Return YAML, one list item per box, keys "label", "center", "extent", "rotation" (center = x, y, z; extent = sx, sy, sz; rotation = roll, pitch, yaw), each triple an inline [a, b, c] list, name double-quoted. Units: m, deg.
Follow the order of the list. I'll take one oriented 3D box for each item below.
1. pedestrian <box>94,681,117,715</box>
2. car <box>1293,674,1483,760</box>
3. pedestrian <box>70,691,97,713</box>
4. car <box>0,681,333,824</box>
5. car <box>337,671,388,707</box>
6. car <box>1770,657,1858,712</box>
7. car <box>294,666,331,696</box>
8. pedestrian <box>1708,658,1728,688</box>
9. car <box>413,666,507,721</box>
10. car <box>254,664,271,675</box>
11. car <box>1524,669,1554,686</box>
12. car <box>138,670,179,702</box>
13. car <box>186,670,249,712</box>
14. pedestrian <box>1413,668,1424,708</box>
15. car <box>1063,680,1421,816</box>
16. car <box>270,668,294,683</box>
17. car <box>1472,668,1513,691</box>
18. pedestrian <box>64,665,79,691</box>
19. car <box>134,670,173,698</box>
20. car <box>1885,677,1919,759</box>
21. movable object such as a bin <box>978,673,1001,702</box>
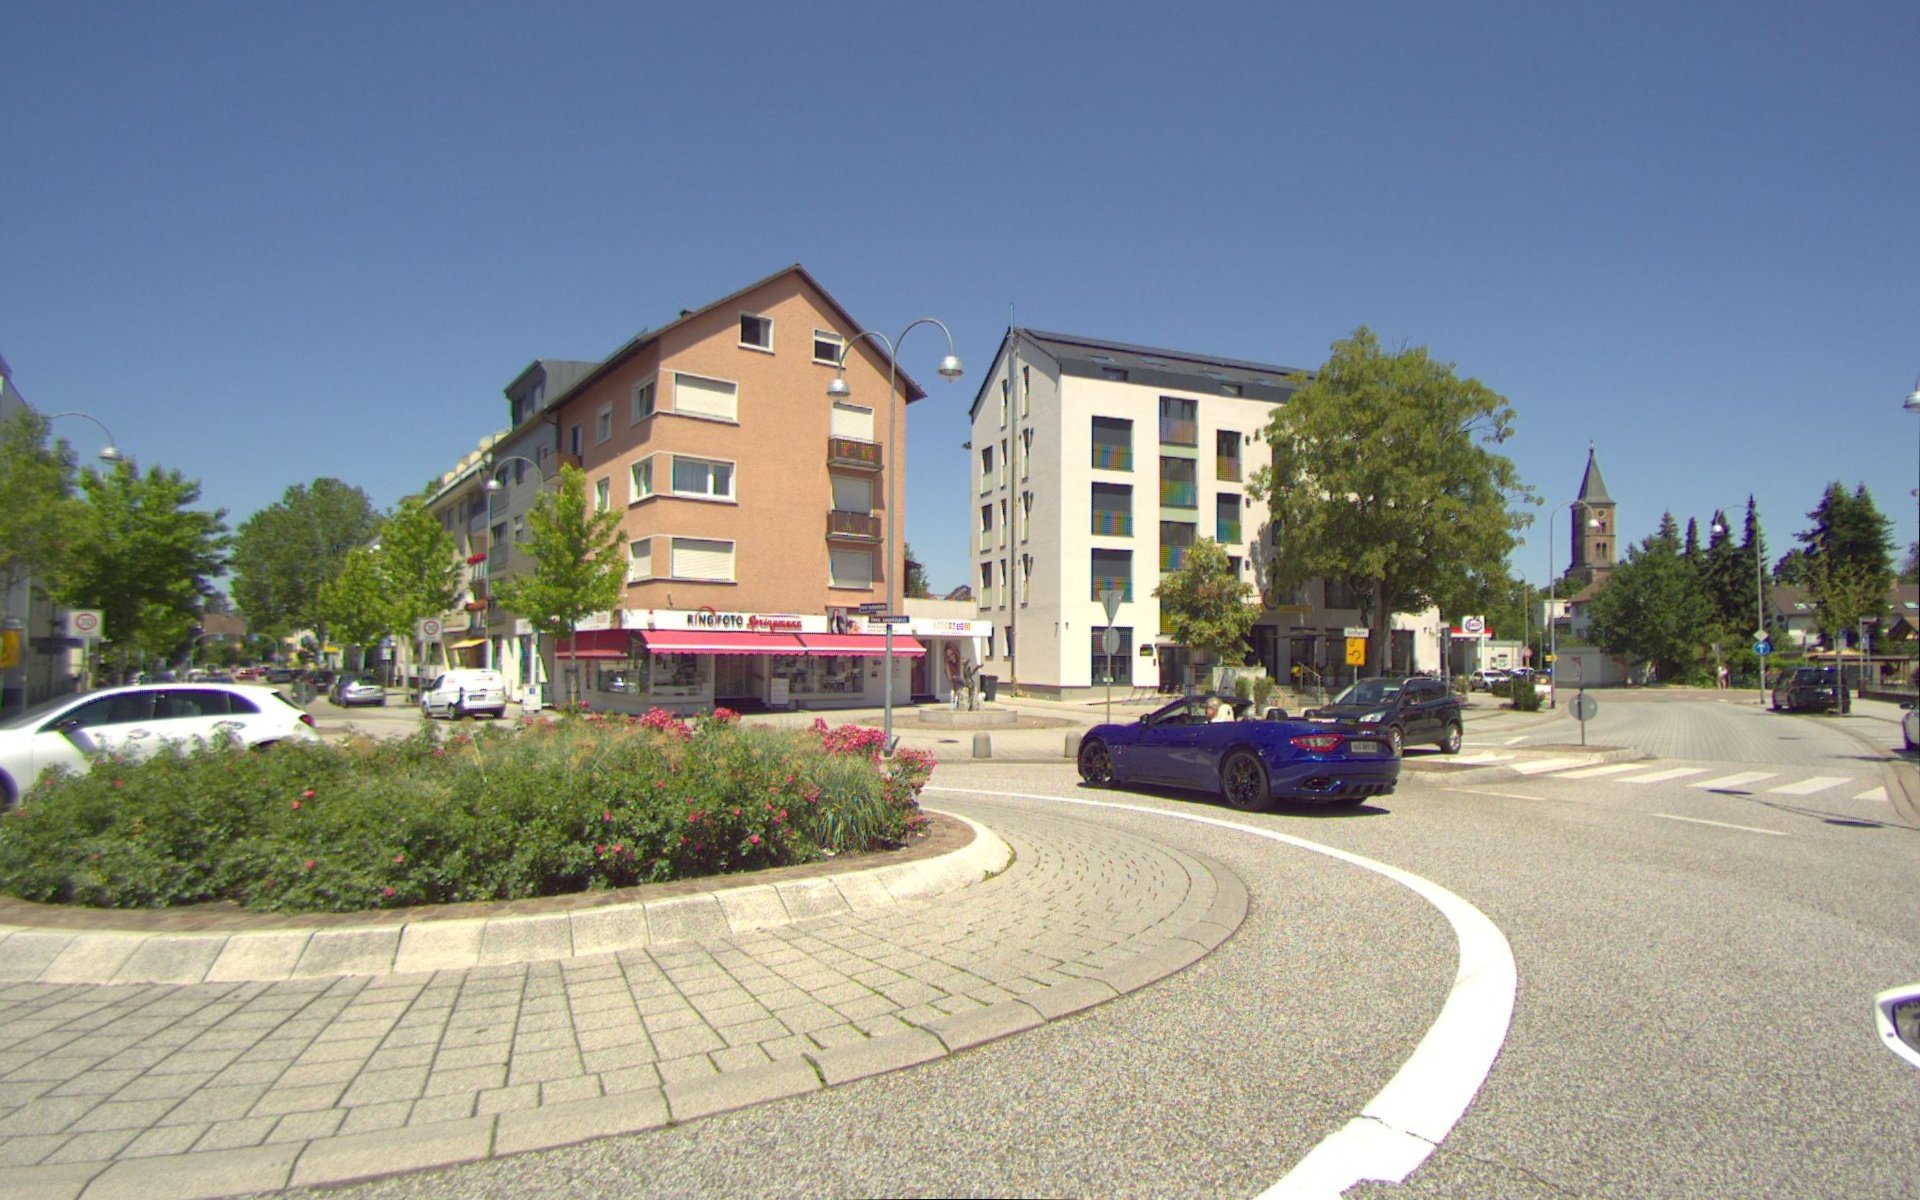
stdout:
- label: "pedestrian"
  center: [-35.700, 4.091, 41.949]
  extent: [0.562, 1.390, 0.662]
  rotation: [1, -4, -28]
- label: "car"
  center: [9.601, 2.518, 22.390]
  extent: [4.487, 1.710, 1.979]
  rotation: [3, -5, -38]
- label: "pedestrian"
  center: [-36.863, 4.306, 42.240]
  extent: [0.658, 0.869, 0.728]
  rotation: [1, -7, -28]
- label: "car"
  center: [-9.877, 1.672, 11.414]
  extent: [1.901, 1.399, 4.277]
  rotation: [-5, -6, 33]
- label: "car"
  center: [-28.377, 4.203, 47.642]
  extent: [1.731, 1.570, 3.905]
  rotation: [1, -4, -36]
- label: "car"
  center: [34.362, 3.341, 40.535]
  extent: [1.964, 1.890, 4.279]
  rotation: [0, -1, 30]
- label: "car"
  center: [-45.396, 5.642, 70.385]
  extent: [1.980, 1.822, 4.525]
  rotation: [1, -2, -35]
- label: "pedestrian"
  center: [48.160, 4.632, 63.823]
  extent: [0.829, 1.838, 0.549]
  rotation: [0, 0, 0]
- label: "car"
  center: [-17.568, 3.225, 35.207]
  extent: [3.856, 1.746, 1.743]
  rotation: [-4, -3, 43]
- label: "car"
  center: [-106.156, 10.566, 152.786]
  extent: [1.939, 1.495, 4.095]
  rotation: [1, -3, -37]
- label: "car"
  center: [48.481, 6.449, 84.149]
  extent: [1.515, 1.396, 4.001]
  rotation: [-1, -4, 21]
- label: "car"
  center: [-47.958, 5.130, 60.138]
  extent: [1.720, 1.762, 4.345]
  rotation: [6, -6, -38]
- label: "car"
  center: [-31.333, 3.795, 42.436]
  extent: [1.981, 1.613, 4.949]
  rotation: [3, -5, -36]
- label: "pedestrian"
  center: [19.796, 3.795, 43.375]
  extent: [0.399, 1.650, 0.650]
  rotation: [0, -1, 29]
- label: "car"
  center: [3.372, 1.807, 13.054]
  extent: [1.956, 1.415, 4.600]
  rotation: [4, -6, -25]
- label: "car"
  center: [-72.598, 8.077, 107.562]
  extent: [1.964, 1.469, 4.305]
  rotation: [0, -2, -36]
- label: "car"
  center: [38.584, 5.730, 72.898]
  extent: [1.800, 1.594, 4.003]
  rotation: [-1, -3, 16]
- label: "pedestrian"
  center: [-60.264, 5.307, 68.142]
  extent: [0.621, 1.703, 0.656]
  rotation: [0, -1, 36]
- label: "car"
  center: [-51.309, 5.353, 63.961]
  extent: [1.814, 1.640, 4.345]
  rotation: [4, -5, -38]
- label: "car"
  center: [21.331, 2.429, 21.299]
  extent: [1.970, 1.604, 4.271]
  rotation: [-8, -8, 37]
- label: "movable object such as a bin"
  center: [1.217, 3.639, 41.924]
  extent: [0.749, 1.170, 0.770]
  rotation: [1, -1, -19]
